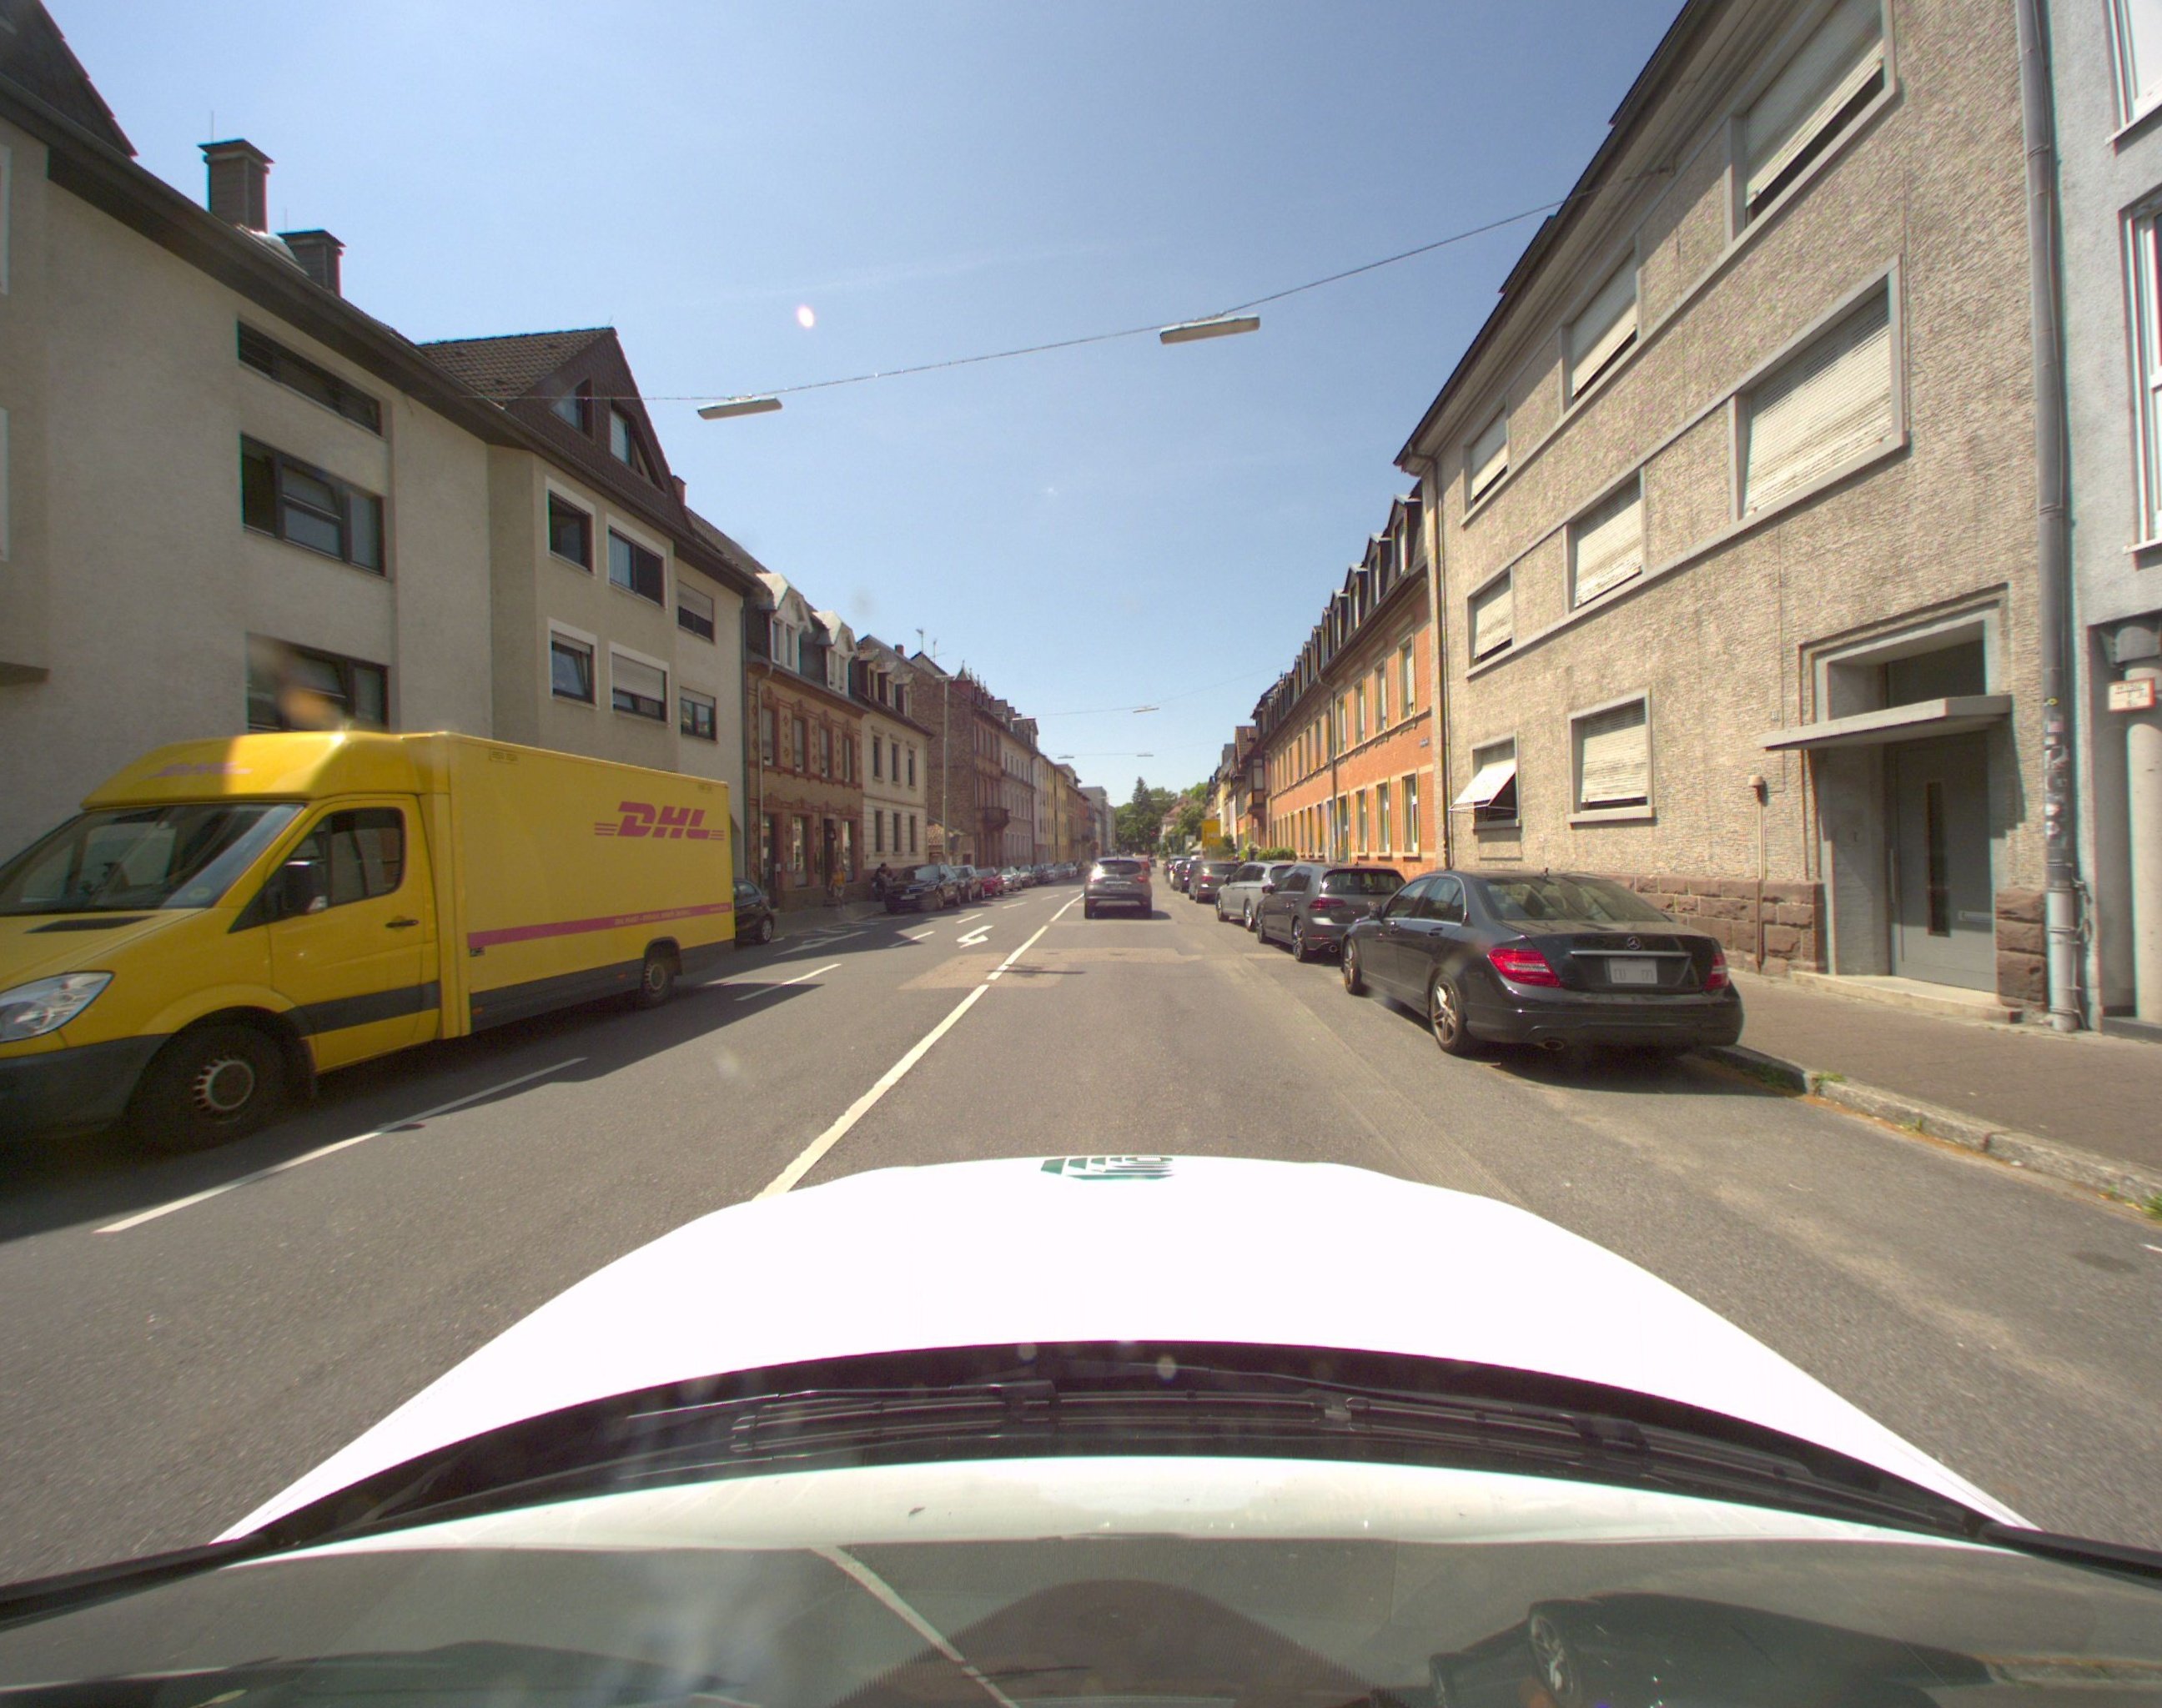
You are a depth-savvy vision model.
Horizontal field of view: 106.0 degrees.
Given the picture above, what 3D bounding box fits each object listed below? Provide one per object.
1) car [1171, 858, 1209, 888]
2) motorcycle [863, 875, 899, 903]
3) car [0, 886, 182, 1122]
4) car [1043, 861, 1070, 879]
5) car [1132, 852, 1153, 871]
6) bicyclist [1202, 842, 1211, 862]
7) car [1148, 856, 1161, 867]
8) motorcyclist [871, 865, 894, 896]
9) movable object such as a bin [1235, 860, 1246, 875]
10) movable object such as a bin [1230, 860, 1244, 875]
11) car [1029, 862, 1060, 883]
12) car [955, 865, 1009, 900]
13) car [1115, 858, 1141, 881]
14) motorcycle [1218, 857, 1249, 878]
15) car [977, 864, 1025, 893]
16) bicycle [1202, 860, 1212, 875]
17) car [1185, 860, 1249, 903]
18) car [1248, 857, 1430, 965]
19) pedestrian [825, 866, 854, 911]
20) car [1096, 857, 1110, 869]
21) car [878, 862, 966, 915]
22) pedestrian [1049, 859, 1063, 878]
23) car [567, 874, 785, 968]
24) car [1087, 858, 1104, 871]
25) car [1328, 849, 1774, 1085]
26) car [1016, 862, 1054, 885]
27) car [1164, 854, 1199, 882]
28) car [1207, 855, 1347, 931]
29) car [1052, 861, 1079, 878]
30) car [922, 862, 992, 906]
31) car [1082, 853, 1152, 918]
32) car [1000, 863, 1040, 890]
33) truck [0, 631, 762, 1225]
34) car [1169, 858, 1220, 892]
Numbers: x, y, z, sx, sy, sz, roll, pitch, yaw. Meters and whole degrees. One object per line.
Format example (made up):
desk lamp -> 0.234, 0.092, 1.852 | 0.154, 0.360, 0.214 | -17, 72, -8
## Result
car -> 5.676, 0.945, 42.769 | 1.708, 1.414, 4.596 | -2, -1, 5
motorcycle -> -8.207, 1.426, 33.491 | 0.841, 1.078, 1.874 | -2, -1, 5
car -> -8.510, 1.056, 4.604 | 1.832, 1.596, 4.388 | 1, -1, 2
car -> -2.040, 1.332, 68.544 | 1.832, 1.422, 4.649 | -4, -1, 3
car -> 6.663, 0.795, 88.355 | 1.983, 2.013, 4.474 | -2, 0, 6
bicyclist -> 9.229, -0.123, 59.980 | 0.530, 1.469, 0.792 | -2, -1, 6
car -> 11.369, 1.123, 125.402 | 1.754, 1.560, 3.950 | -2, 0, 7
motorcyclist -> -8.205, 1.080, 33.643 | 0.715, 1.248, 0.712 | -2, -1, 3
movable object such as a bin -> 11.334, 0.979, 57.939 | 0.655, 1.055, 0.750 | -2, -1, 6
movable object such as a bin -> 9.959, 0.872, 51.960 | 0.785, 0.907, 0.539 | -2, -1, 2
car -> -2.746, 1.388, 62.638 | 1.832, 1.422, 4.505 | -4, -1, 3
car -> -4.687, 1.323, 39.114 | 1.833, 1.422, 4.503 | -4, -1, 1
car -> 3.575, 1.167, 61.819 | 1.804, 1.620, 4.446 | -3, -1, 4
motorcycle -> 11.324, 0.983, 60.680 | 2.119, 1.408, 0.938 | -3, -1, 4
car -> -4.413, 1.344, 45.701 | 1.831, 1.422, 4.507 | -4, -1, 4
bicycle -> 9.239, 0.982, 59.933 | 0.590, 1.066, 1.885 | -2, -1, 5
car -> 4.718, 0.932, 28.729 | 1.694, 1.380, 4.169 | -1, -1, 2
car -> 3.934, 0.787, 13.123 | 1.646, 1.420, 4.048 | -1, 0, 0
pedestrian -> -8.265, 1.171, 27.894 | 0.605, 1.495, 0.972 | 0, 0, 5
car -> 3.239, 1.354, 119.270 | 1.898, 1.620, 4.304 | -4, -1, 2
car -> -5.478, 1.150, 28.633 | 1.831, 1.597, 4.507 | -4, -1, 4
pedestrian -> -2.360, 1.347, 77.217 | 1.145, 1.750, 0.971 | -2, -1, 7
car -> -7.630, 1.174, 15.939 | 1.832, 1.488, 4.504 | 1, -1, 2
car -> 1.908, 1.358, 107.634 | 1.896, 1.620, 4.308 | -4, -1, 5
car -> 3.690, 0.742, 7.470 | 1.704, 1.473, 4.442 | -2, 0, 3
car -> -3.177, 1.338, 57.390 | 1.830, 1.422, 4.510 | -5, -1, 6
car -> 6.351, 0.878, 51.993 | 1.984, 1.662, 4.631 | -2, -1, 5
car -> 4.238, 0.799, 18.380 | 1.849, 1.463, 4.545 | -1, -1, -3
car -> -1.369, 1.388, 74.299 | 1.830, 1.422, 4.565 | -5, -1, 6
car -> -5.177, 1.198, 34.562 | 1.831, 1.596, 4.507 | -5, -1, 4
car -> 0.955, 0.800, 22.312 | 1.737, 1.616, 4.001 | 0, 0, 1
car -> -3.821, 1.380, 51.546 | 1.832, 1.422, 4.506 | -6, -1, 3
truck -> -5.881, 0.410, 7.611 | 2.216, 2.771, 7.571 | -3, -1, 4
car -> 5.184, 0.940, 37.670 | 1.643, 1.414, 4.499 | -1, -1, -1
